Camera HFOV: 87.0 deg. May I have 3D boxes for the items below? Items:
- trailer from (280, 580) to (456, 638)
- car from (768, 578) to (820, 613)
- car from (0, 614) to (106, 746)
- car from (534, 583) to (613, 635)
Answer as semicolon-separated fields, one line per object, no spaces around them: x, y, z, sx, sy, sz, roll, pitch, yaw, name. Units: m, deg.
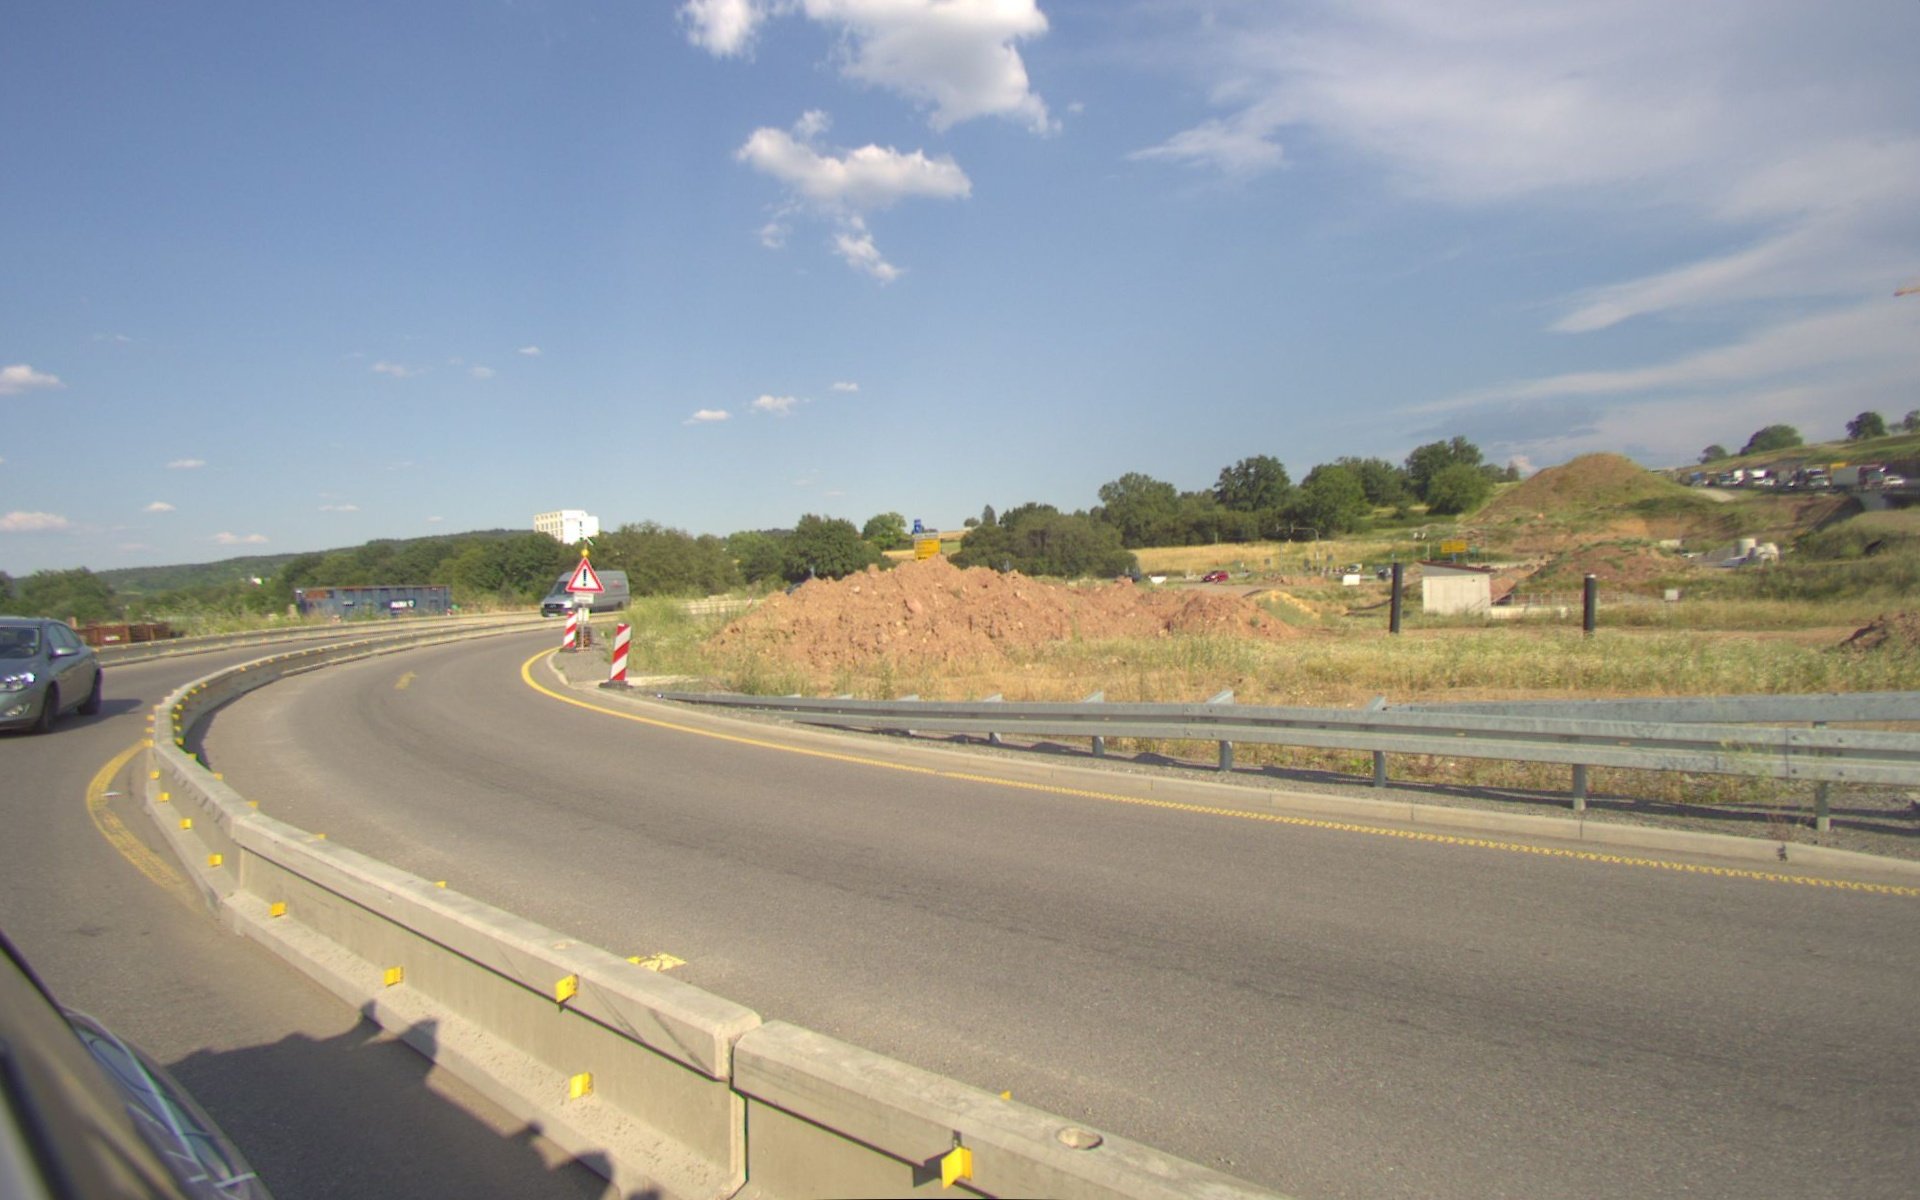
-28.665;0.346;49.425;2.989;2.432;7.185;-2;1;18;trailer
-12.174;-0.376;74.416;1.866;2.421;3.967;-1;1;25;car
-12.844;0.974;13.324;1.719;1.495;4.265;-1;0;-30;car
-20.339;0.399;53.530;1.890;2.519;5.798;-2;1;0;car
